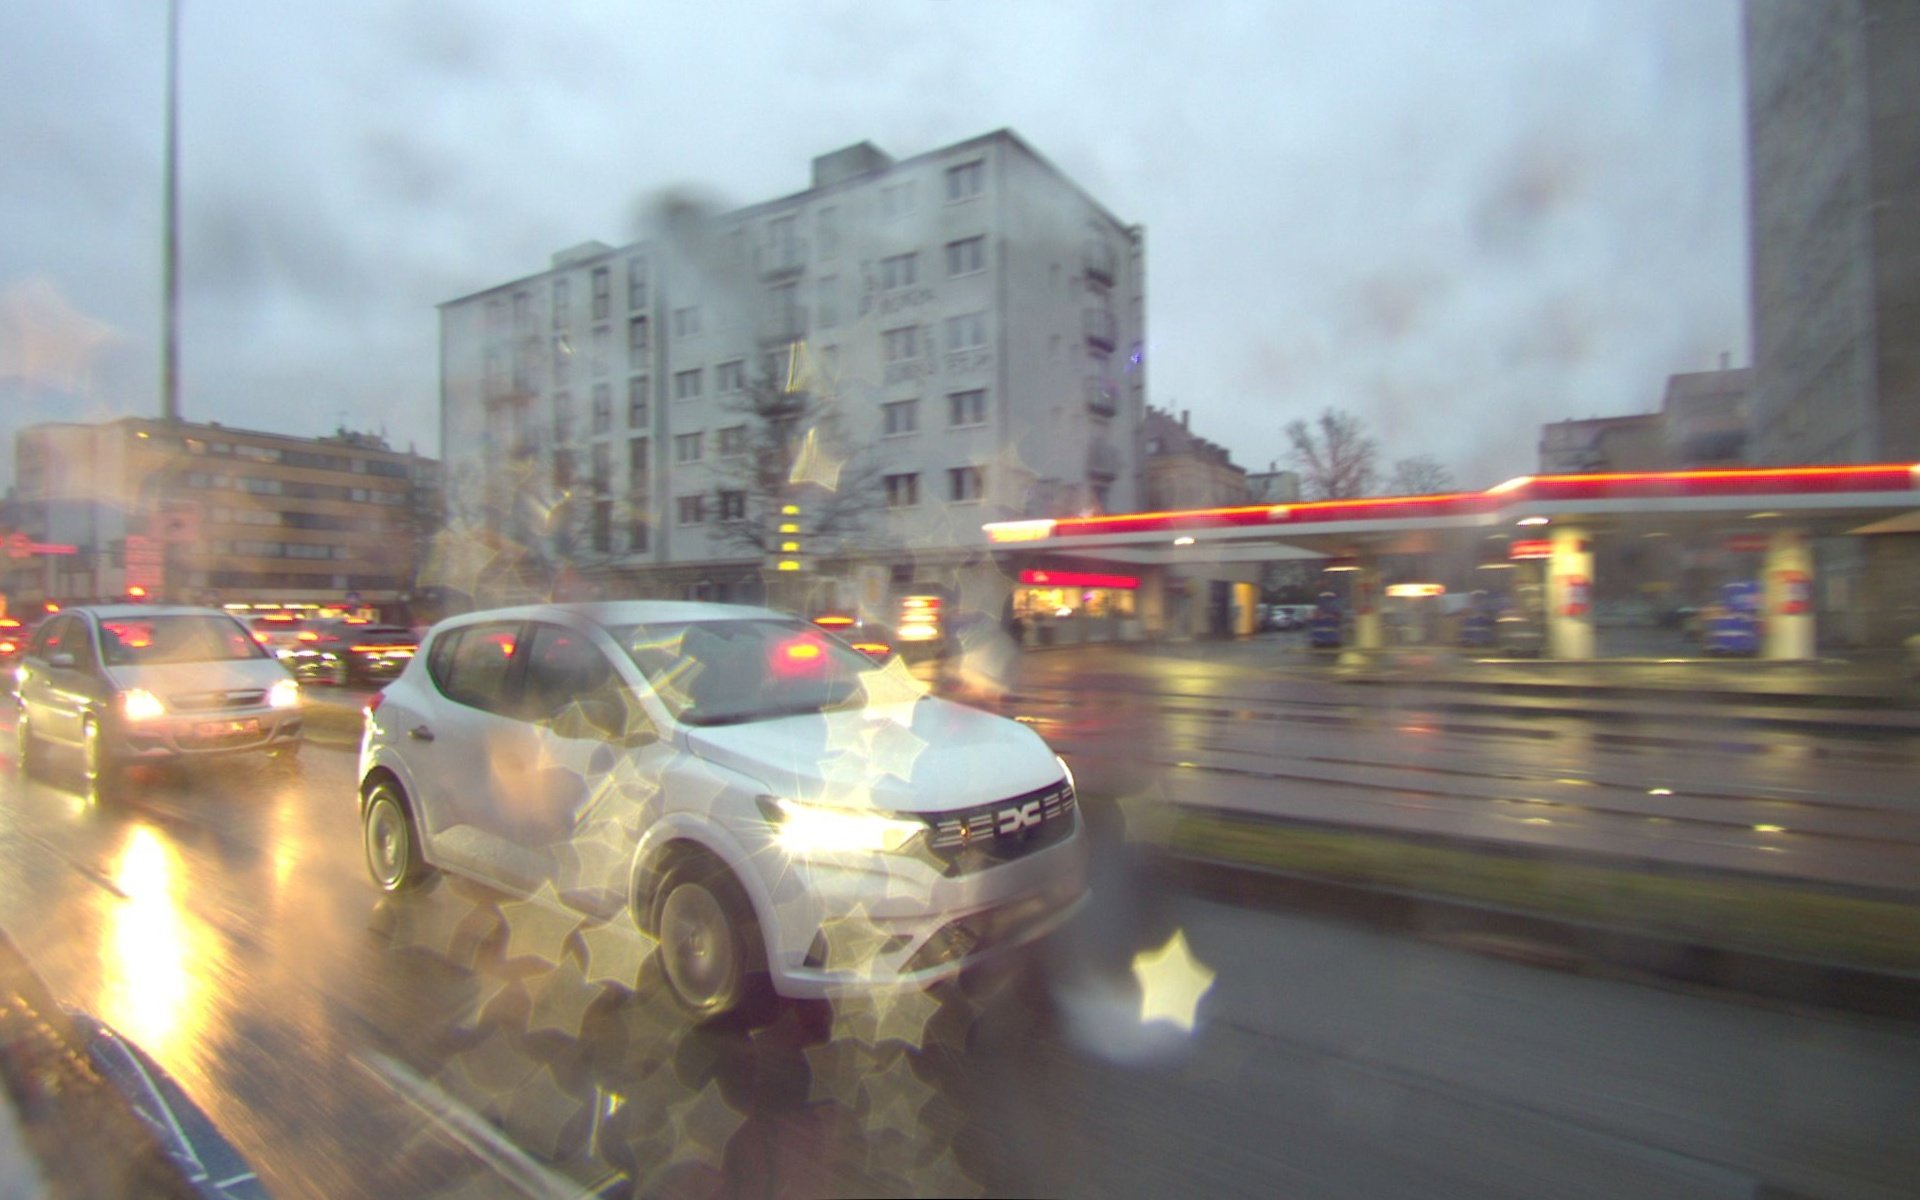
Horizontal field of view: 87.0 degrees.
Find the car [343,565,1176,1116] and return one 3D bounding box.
[{"bbox_3d":[-1.200,0.722,4.672,3.996,1.498,1.610,-2,-2,39],"label":"car"}]

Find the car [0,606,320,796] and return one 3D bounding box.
[{"bbox_3d":[-8.250,0.878,10.248,4.102,1.560,1.630,-1,-1,37],"label":"car"}]

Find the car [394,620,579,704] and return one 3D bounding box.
[{"bbox_3d":[-9.412,1.183,19.990,4.138,1.498,1.629,-2,-2,38],"label":"car"}]

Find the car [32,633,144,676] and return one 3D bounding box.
[{"bbox_3d":[-30.826,1.901,35.733,4.523,1.397,1.945,-2,-2,35],"label":"car"}]

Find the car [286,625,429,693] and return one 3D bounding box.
[{"bbox_3d":[-14.487,1.376,24.260,3.994,1.498,1.629,-2,-2,38],"label":"car"}]

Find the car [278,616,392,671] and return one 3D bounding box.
[{"bbox_3d":[-19.462,1.316,31.461,3.796,1.593,1.772,-1,-1,37],"label":"car"}]

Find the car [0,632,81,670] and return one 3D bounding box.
[{"bbox_3d":[-36.511,1.986,39.753,4.523,1.397,1.945,-2,-2,35],"label":"car"}]

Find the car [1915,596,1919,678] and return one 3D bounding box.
[{"bbox_3d":[17.921,0.658,16.978,1.772,1.542,3.960,-1,-1,29],"label":"car"}]

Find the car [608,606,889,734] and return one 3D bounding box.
[{"bbox_3d":[-3.287,0.982,15.133,4.656,1.643,1.628,-2,-2,41],"label":"car"}]

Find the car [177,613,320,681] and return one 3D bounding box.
[{"bbox_3d":[-20.210,1.313,28.699,4.523,1.796,1.945,-2,-2,35],"label":"car"}]

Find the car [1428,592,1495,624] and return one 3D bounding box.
[{"bbox_3d":[34.823,0.565,70.244,3.988,2.129,1.978,-1,-1,33],"label":"car"}]

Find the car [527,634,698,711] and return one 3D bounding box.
[{"bbox_3d":[-7.957,1.579,22.976,4.274,1.579,1.629,-2,-2,38],"label":"car"}]

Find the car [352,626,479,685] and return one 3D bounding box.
[{"bbox_3d":[-14.978,1.499,27.766,3.994,1.498,1.629,-2,-2,38],"label":"car"}]

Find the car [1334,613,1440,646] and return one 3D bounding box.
[{"bbox_3d":[18.669,1.288,44.266,3.988,1.391,1.940,-1,-1,33],"label":"car"}]
